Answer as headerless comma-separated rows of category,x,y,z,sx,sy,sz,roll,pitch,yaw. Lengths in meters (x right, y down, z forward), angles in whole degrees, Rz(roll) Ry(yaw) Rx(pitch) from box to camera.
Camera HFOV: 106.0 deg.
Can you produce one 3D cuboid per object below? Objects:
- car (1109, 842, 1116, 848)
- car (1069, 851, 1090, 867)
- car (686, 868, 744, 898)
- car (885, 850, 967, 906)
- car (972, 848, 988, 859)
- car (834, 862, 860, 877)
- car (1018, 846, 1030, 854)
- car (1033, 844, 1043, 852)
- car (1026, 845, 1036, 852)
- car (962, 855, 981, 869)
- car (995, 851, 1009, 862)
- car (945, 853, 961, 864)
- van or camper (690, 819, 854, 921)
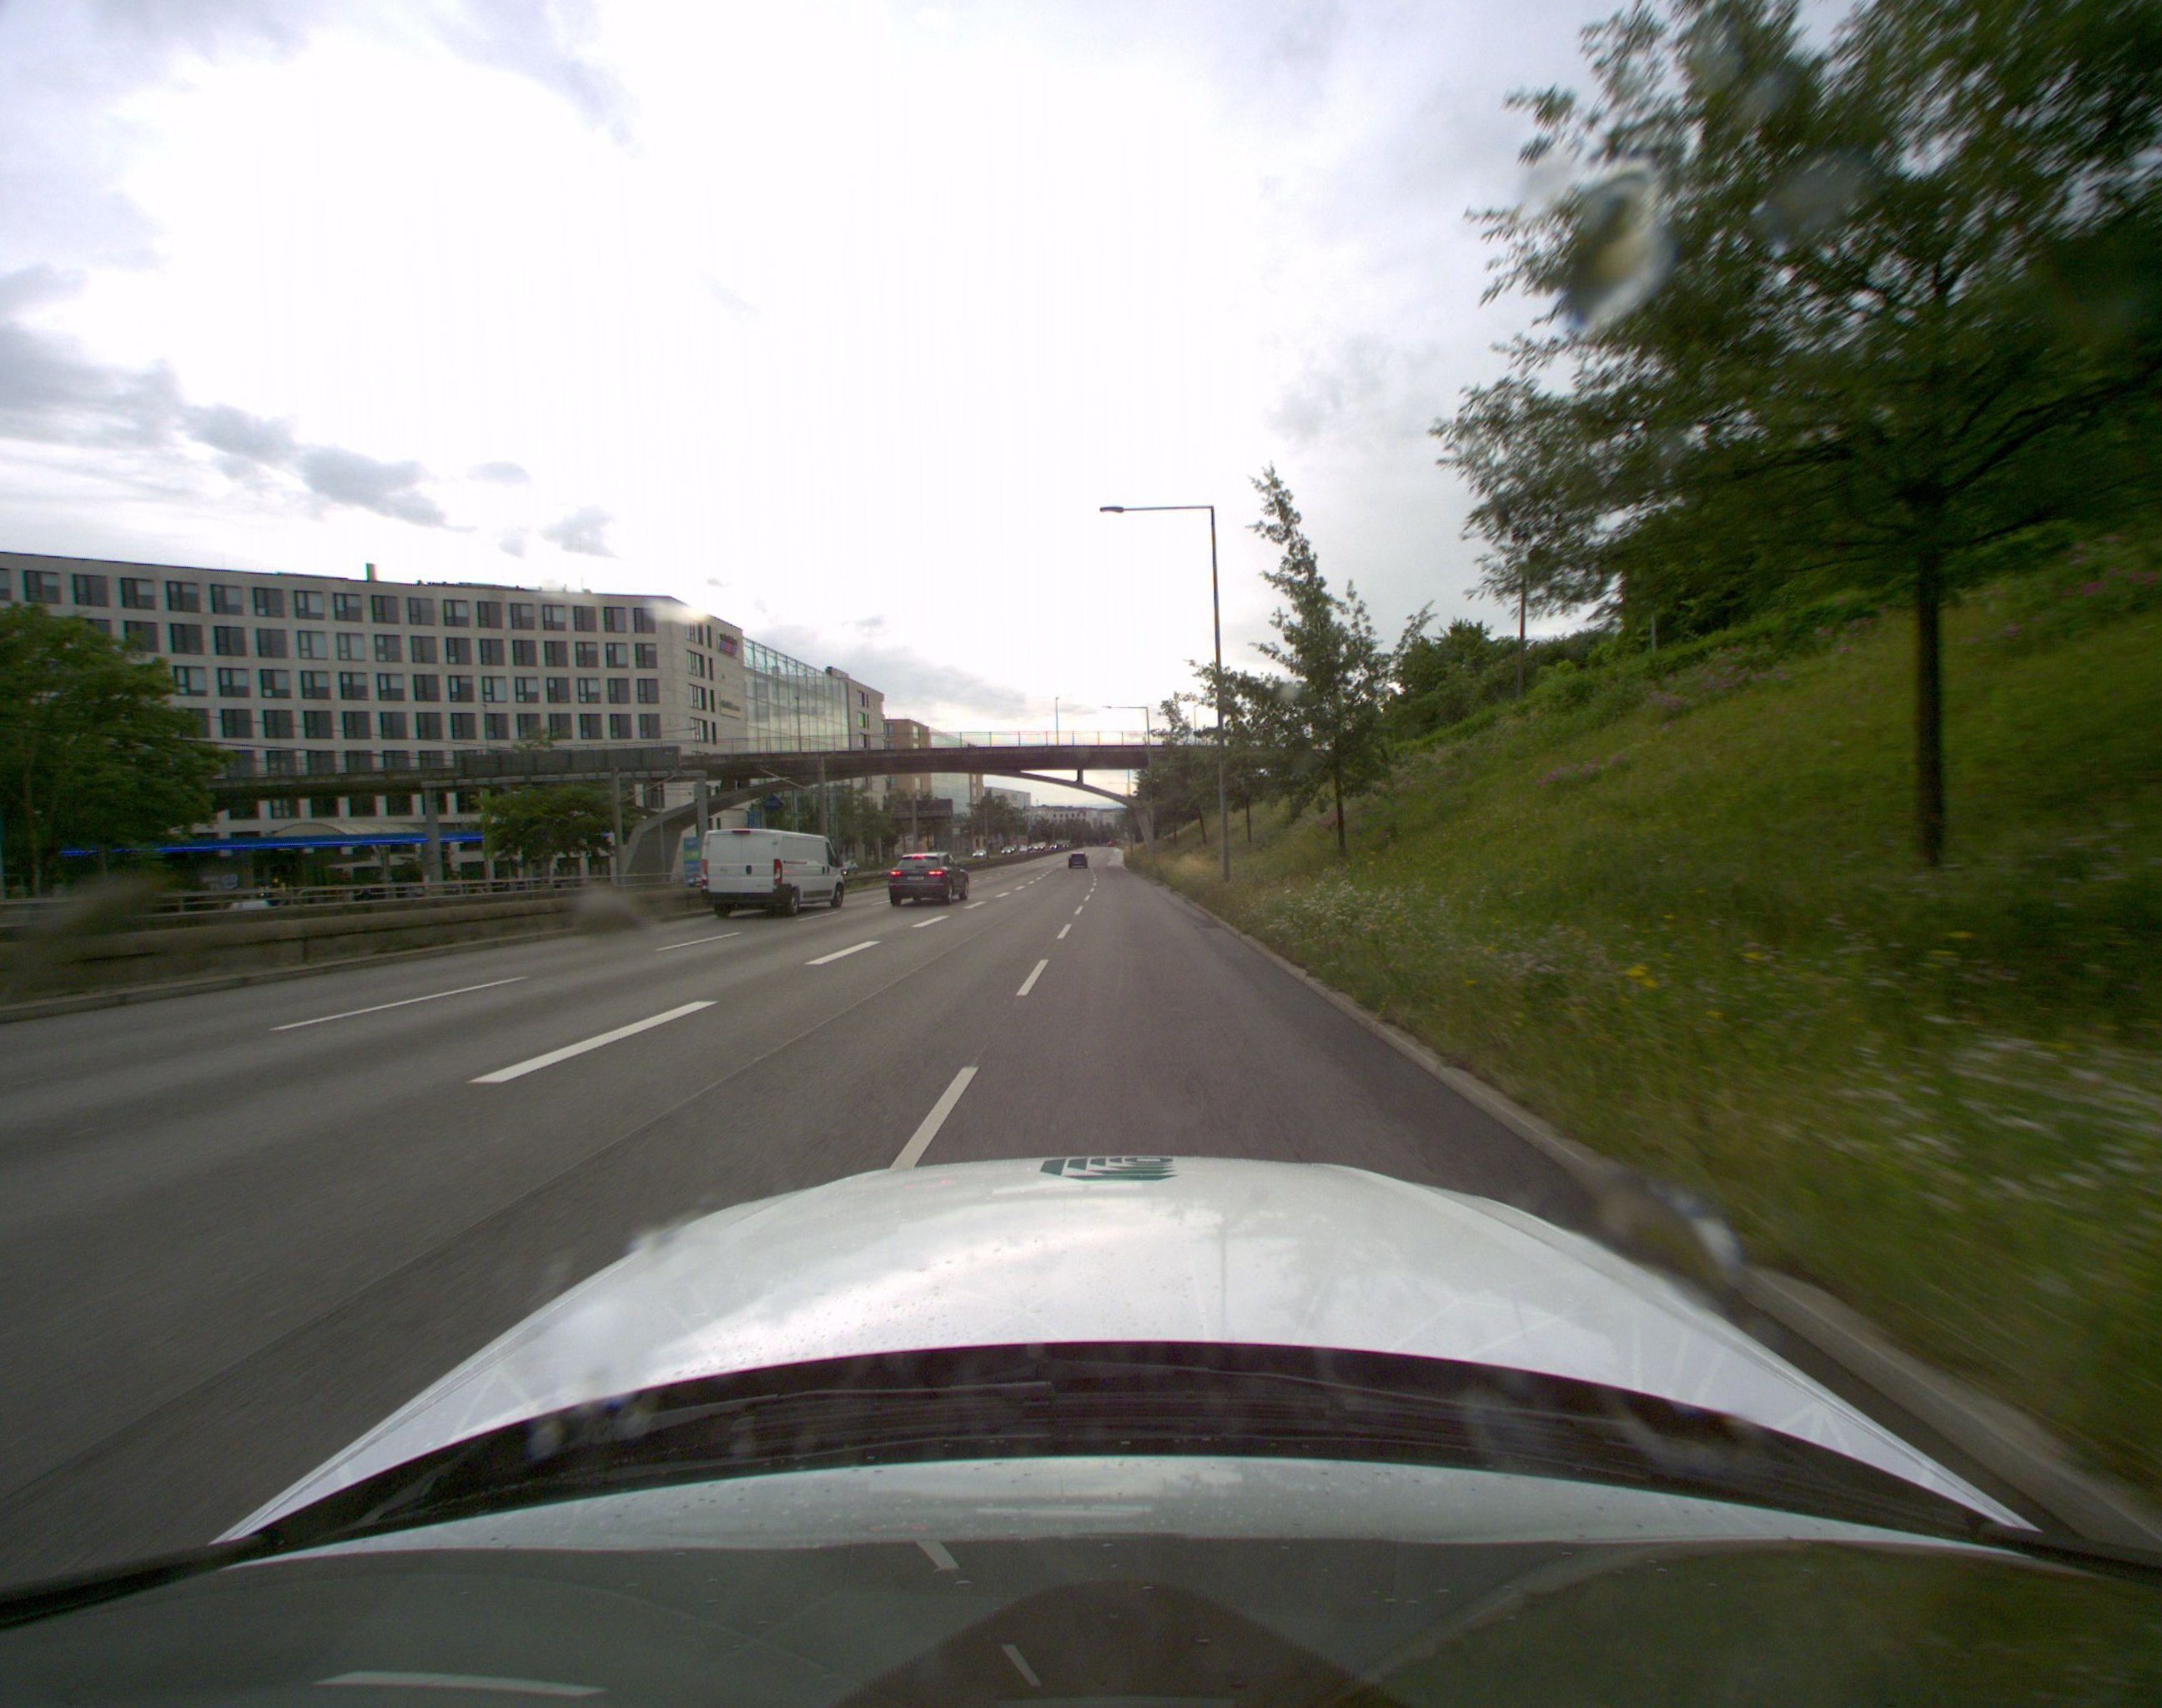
car,10.085,-2.978,260.601,1.857,1.749,3.999,0,3,-1
car,-0.141,0.469,76.527,1.742,1.420,3.480,-1,1,2
car,-20.329,1.585,45.363,1.512,1.420,3.480,-2,1,2
car,-4.964,0.707,26.697,1.745,1.617,4.748,-1,0,0
car,-18.095,-0.096,145.896,1.985,1.735,4.253,0,3,4
car,-24.206,1.580,84.355,1.512,1.420,3.480,-2,1,2
car,-12.334,-0.885,175.443,1.985,1.735,4.253,0,3,4
car,-10.507,-1.418,197.820,1.985,1.735,4.253,0,3,4
car,-12.781,-1.392,209.928,1.985,1.735,4.253,0,3,4
car,-14.639,1.022,109.079,1.987,1.705,4.001,0,3,0
car,-14.732,0.426,152.611,1.985,2.013,4.004,-1,0,4
car,-23.771,0.825,151.692,1.985,2.013,4.004,-1,0,4
van or camper,-8.303,0.391,22.601,2.195,2.439,5.534,-1,0,2
